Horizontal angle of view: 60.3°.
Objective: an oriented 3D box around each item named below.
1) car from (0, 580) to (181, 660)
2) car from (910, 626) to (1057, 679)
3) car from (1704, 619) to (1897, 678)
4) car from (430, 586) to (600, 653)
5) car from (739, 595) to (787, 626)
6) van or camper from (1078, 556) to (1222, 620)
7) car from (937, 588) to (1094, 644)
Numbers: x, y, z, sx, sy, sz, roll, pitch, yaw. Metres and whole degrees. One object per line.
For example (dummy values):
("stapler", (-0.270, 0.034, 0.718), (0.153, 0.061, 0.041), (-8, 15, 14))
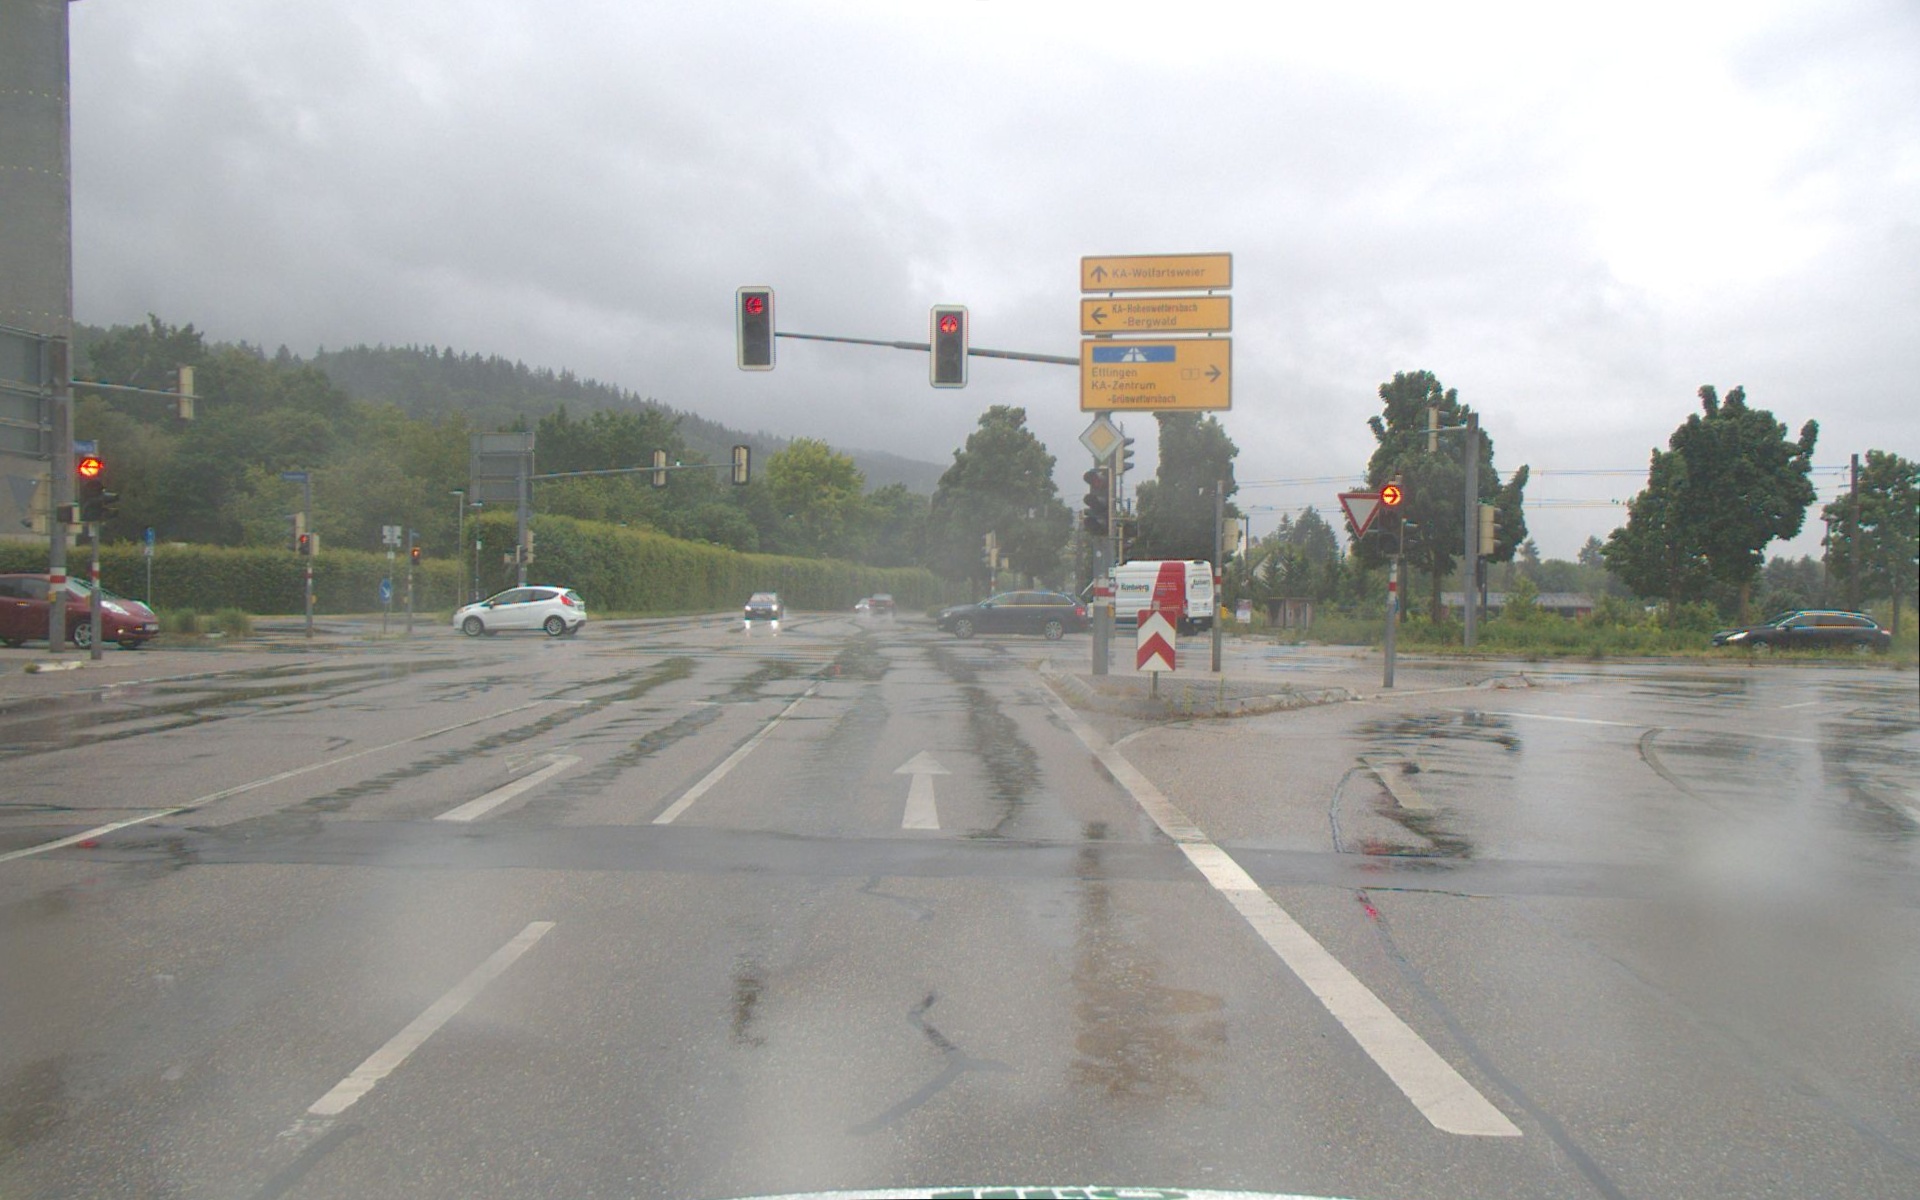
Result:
("car", (-19.279, 0.396, 35.540), (4.283, 1.607, 1.733), (1, 1, 4))
("car", (0.761, 1.647, 52.555), (4.572, 1.580, 1.823), (0, 1, 2))
("car", (23.939, 1.363, 47.221), (4.572, 1.580, 1.823), (0, 1, 2))
("car", (-13.343, 0.556, 49.742), (4.573, 1.949, 1.915), (0, 0, 1))
("car", (-10.768, 0.541, 90.830), (1.839, 1.601, 4.646), (-1, 0, 3))
("van or camper", (6.853, -0.444, 59.896), (4.772, 2.207, 2.150), (1, 1, 39))
("car", (1.670, 0.463, 49.122), (4.571, 1.580, 1.823), (0, 1, 4))
